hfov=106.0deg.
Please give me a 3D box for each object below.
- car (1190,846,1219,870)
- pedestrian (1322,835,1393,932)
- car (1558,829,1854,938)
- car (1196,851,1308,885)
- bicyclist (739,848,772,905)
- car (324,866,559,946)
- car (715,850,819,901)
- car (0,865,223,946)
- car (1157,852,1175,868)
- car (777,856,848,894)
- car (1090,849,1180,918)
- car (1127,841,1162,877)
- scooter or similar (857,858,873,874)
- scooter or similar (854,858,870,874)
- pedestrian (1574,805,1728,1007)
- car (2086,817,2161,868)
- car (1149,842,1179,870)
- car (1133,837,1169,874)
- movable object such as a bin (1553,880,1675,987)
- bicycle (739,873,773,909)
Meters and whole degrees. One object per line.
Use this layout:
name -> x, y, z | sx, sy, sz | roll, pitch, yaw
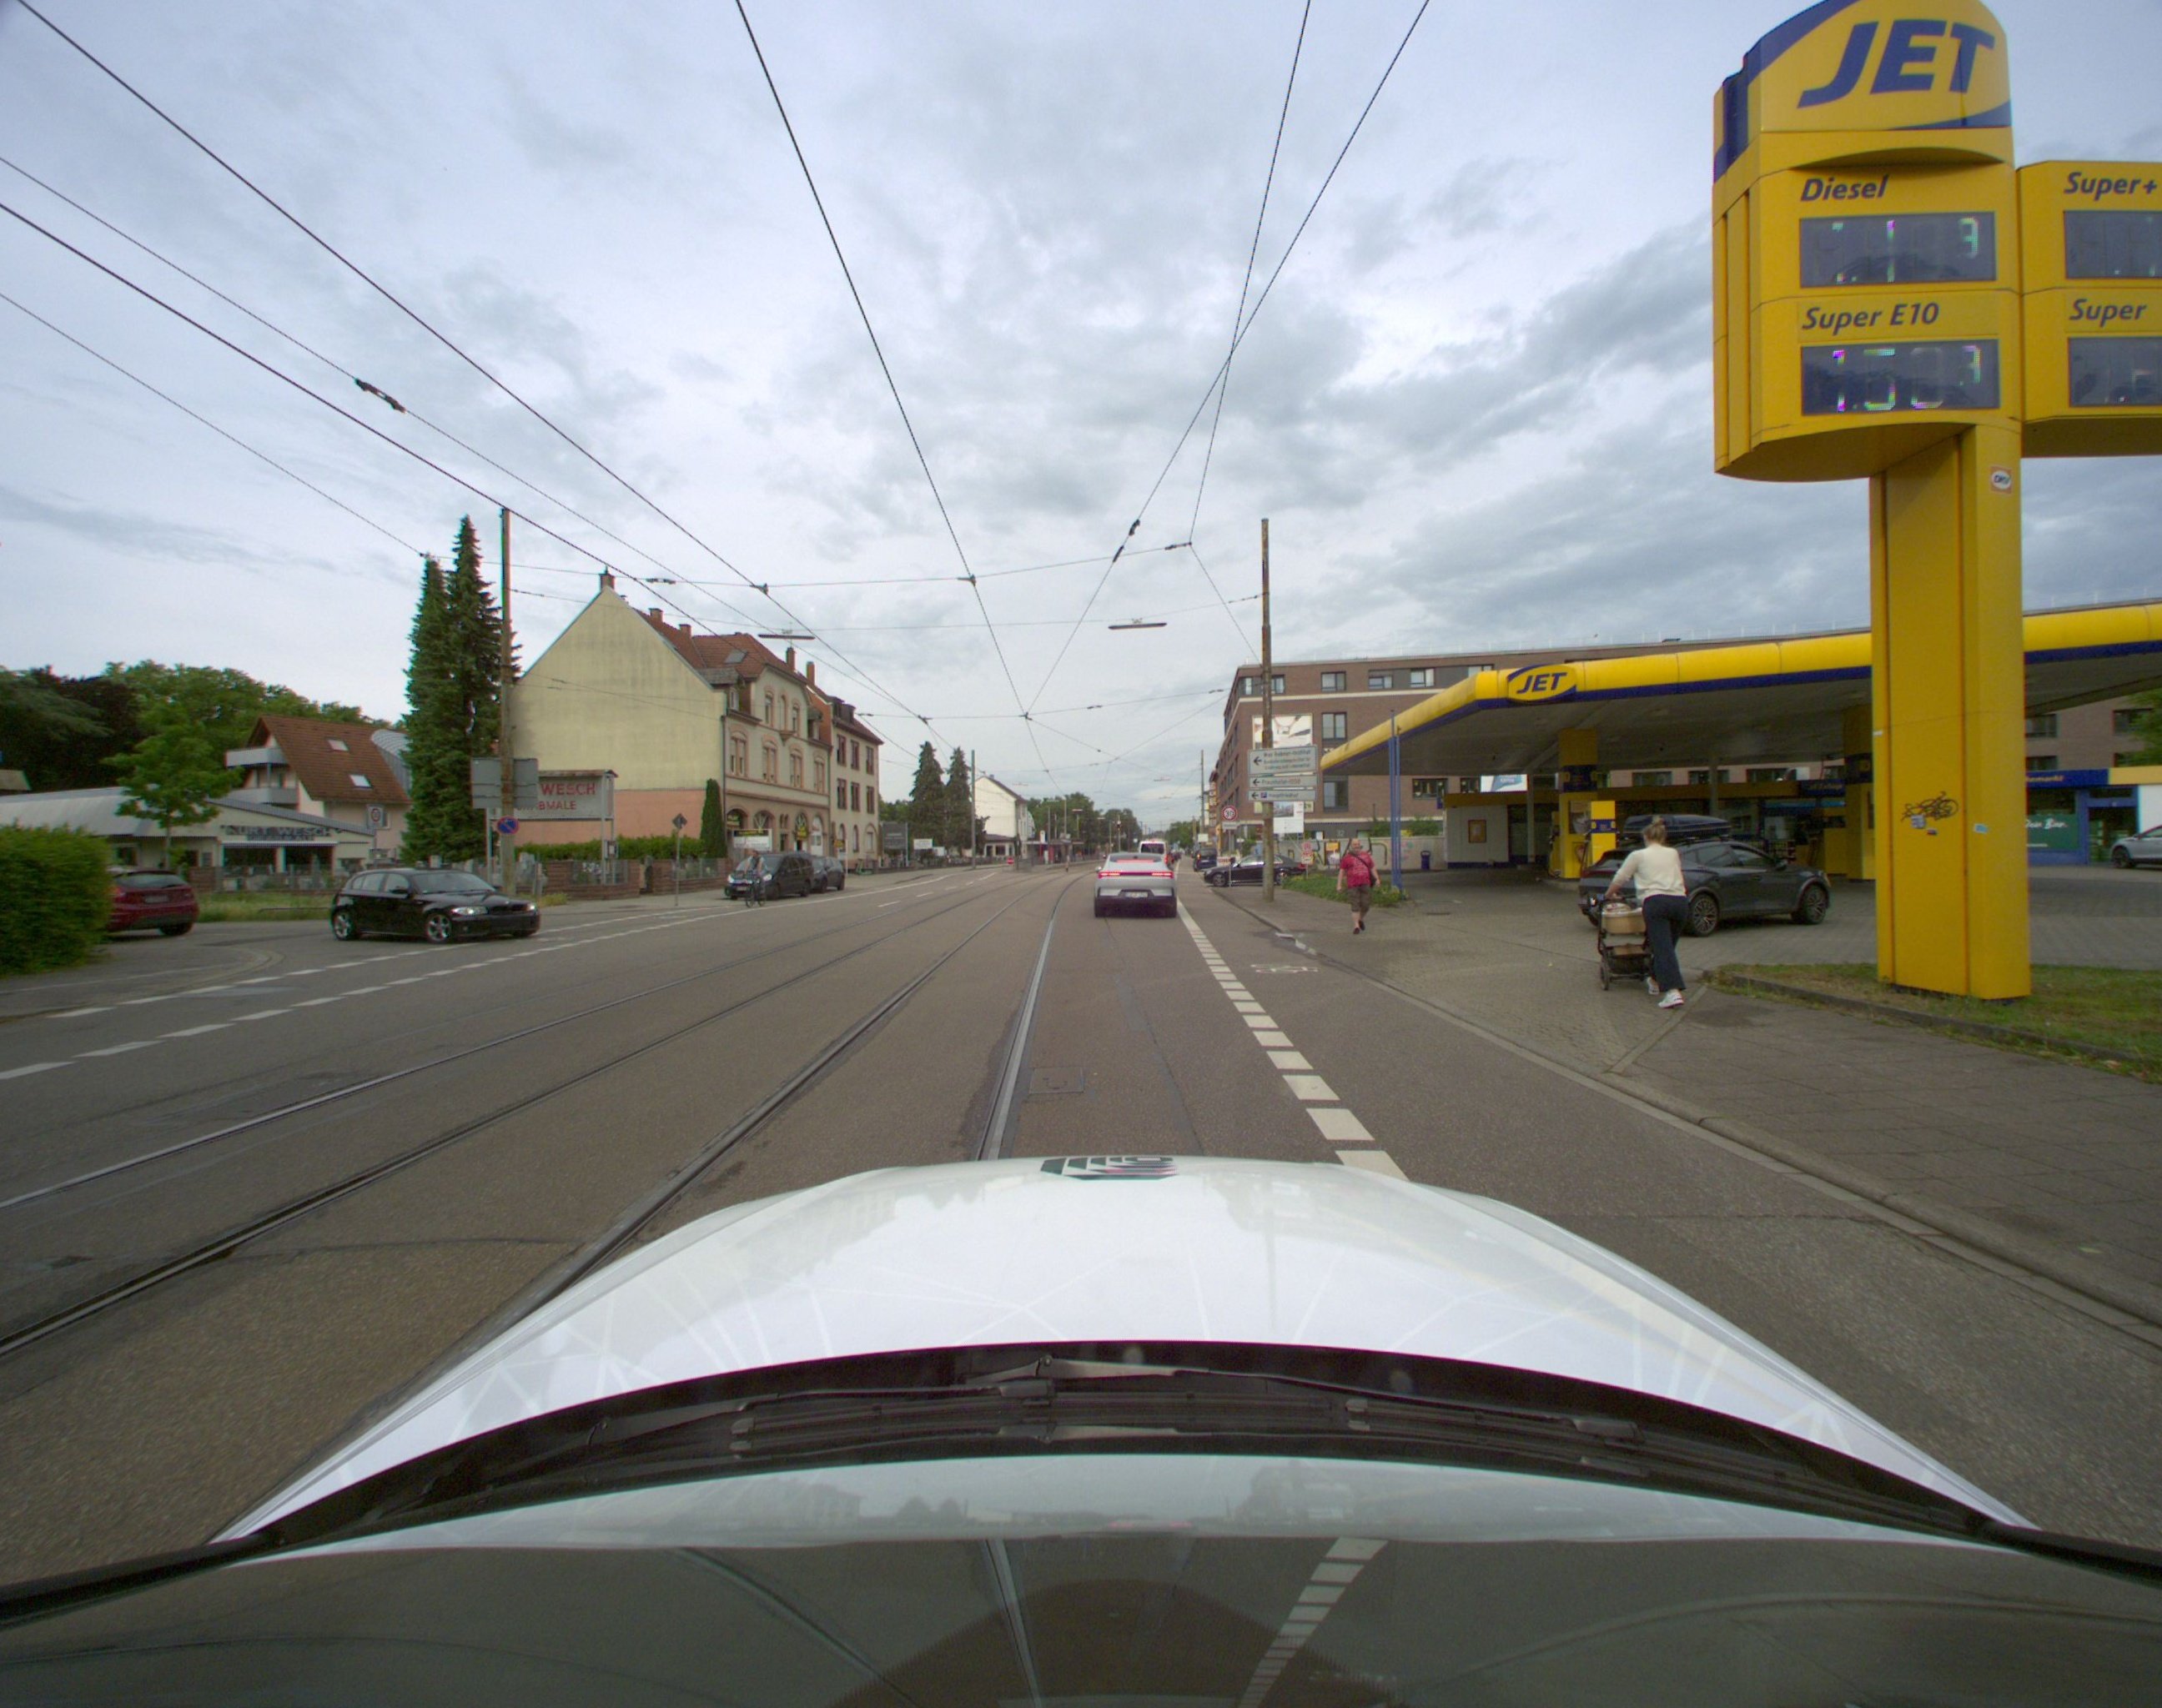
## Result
car -> 9.716, 0.322, 64.291 | 1.867, 1.823, 4.099 | 0, -1, 2
pedestrian -> 5.184, 0.542, 15.309 | 0.968, 1.738, 0.862 | -3, -1, 2
car -> 10.647, 0.424, 13.918 | 4.326, 1.497, 1.983 | -3, 1, -20
car -> 7.862, 0.638, 37.417 | 4.831, 1.427, 1.962 | -1, 0, 17
bicyclist -> -10.397, 0.707, 26.055 | 0.735, 1.749, 0.975 | -2, 0, -11
car -> -12.497, 0.953, 15.940 | 3.887, 1.388, 1.811 | -1, 0, 20
car -> -12.348, 0.810, 32.421 | 1.984, 1.887, 5.001 | 0, -1, 2
car -> -19.781, 0.970, 16.086 | 3.698, 1.417, 1.768 | 0, 2, -1
car -> 11.194, 0.829, 107.529 | 1.987, 2.014, 3.998 | 0, -1, -1
car -> -12.577, 0.951, 38.430 | 1.838, 1.718, 4.194 | 0, -1, 1
car -> 1.257, 0.677, 20.621 | 1.975, 1.550, 4.182 | 0, 0, 0
car -> 3.726, 0.303, 48.528 | 1.985, 2.014, 4.003 | 0, -1, 3
scooter or similar -> -15.572, 0.876, 58.798 | 1.056, 1.188, 0.315 | 1, -1, -33
scooter or similar -> -15.943, 0.879, 59.263 | 1.056, 1.188, 0.315 | 1, -1, -33
pedestrian -> 5.513, 0.479, 7.963 | 0.762, 1.797, 1.166 | -4, -1, 14
car -> 35.670, -0.355, 26.391 | 1.819, 1.638, 4.500 | 0, -1, 19
car -> 6.672, 0.190, 65.778 | 2.131, 2.145, 4.746 | 0, -1, 3
car -> 4.808, 0.107, 56.299 | 2.208, 2.423, 4.953 | 0, -1, 2
movable object such as a bin -> 5.773, 0.840, 8.887 | 0.762, 1.039, 1.028 | -4, -1, 14
bicycle -> -10.382, 1.157, 26.057 | 0.587, 1.074, 1.950 | -2, 0, -11
